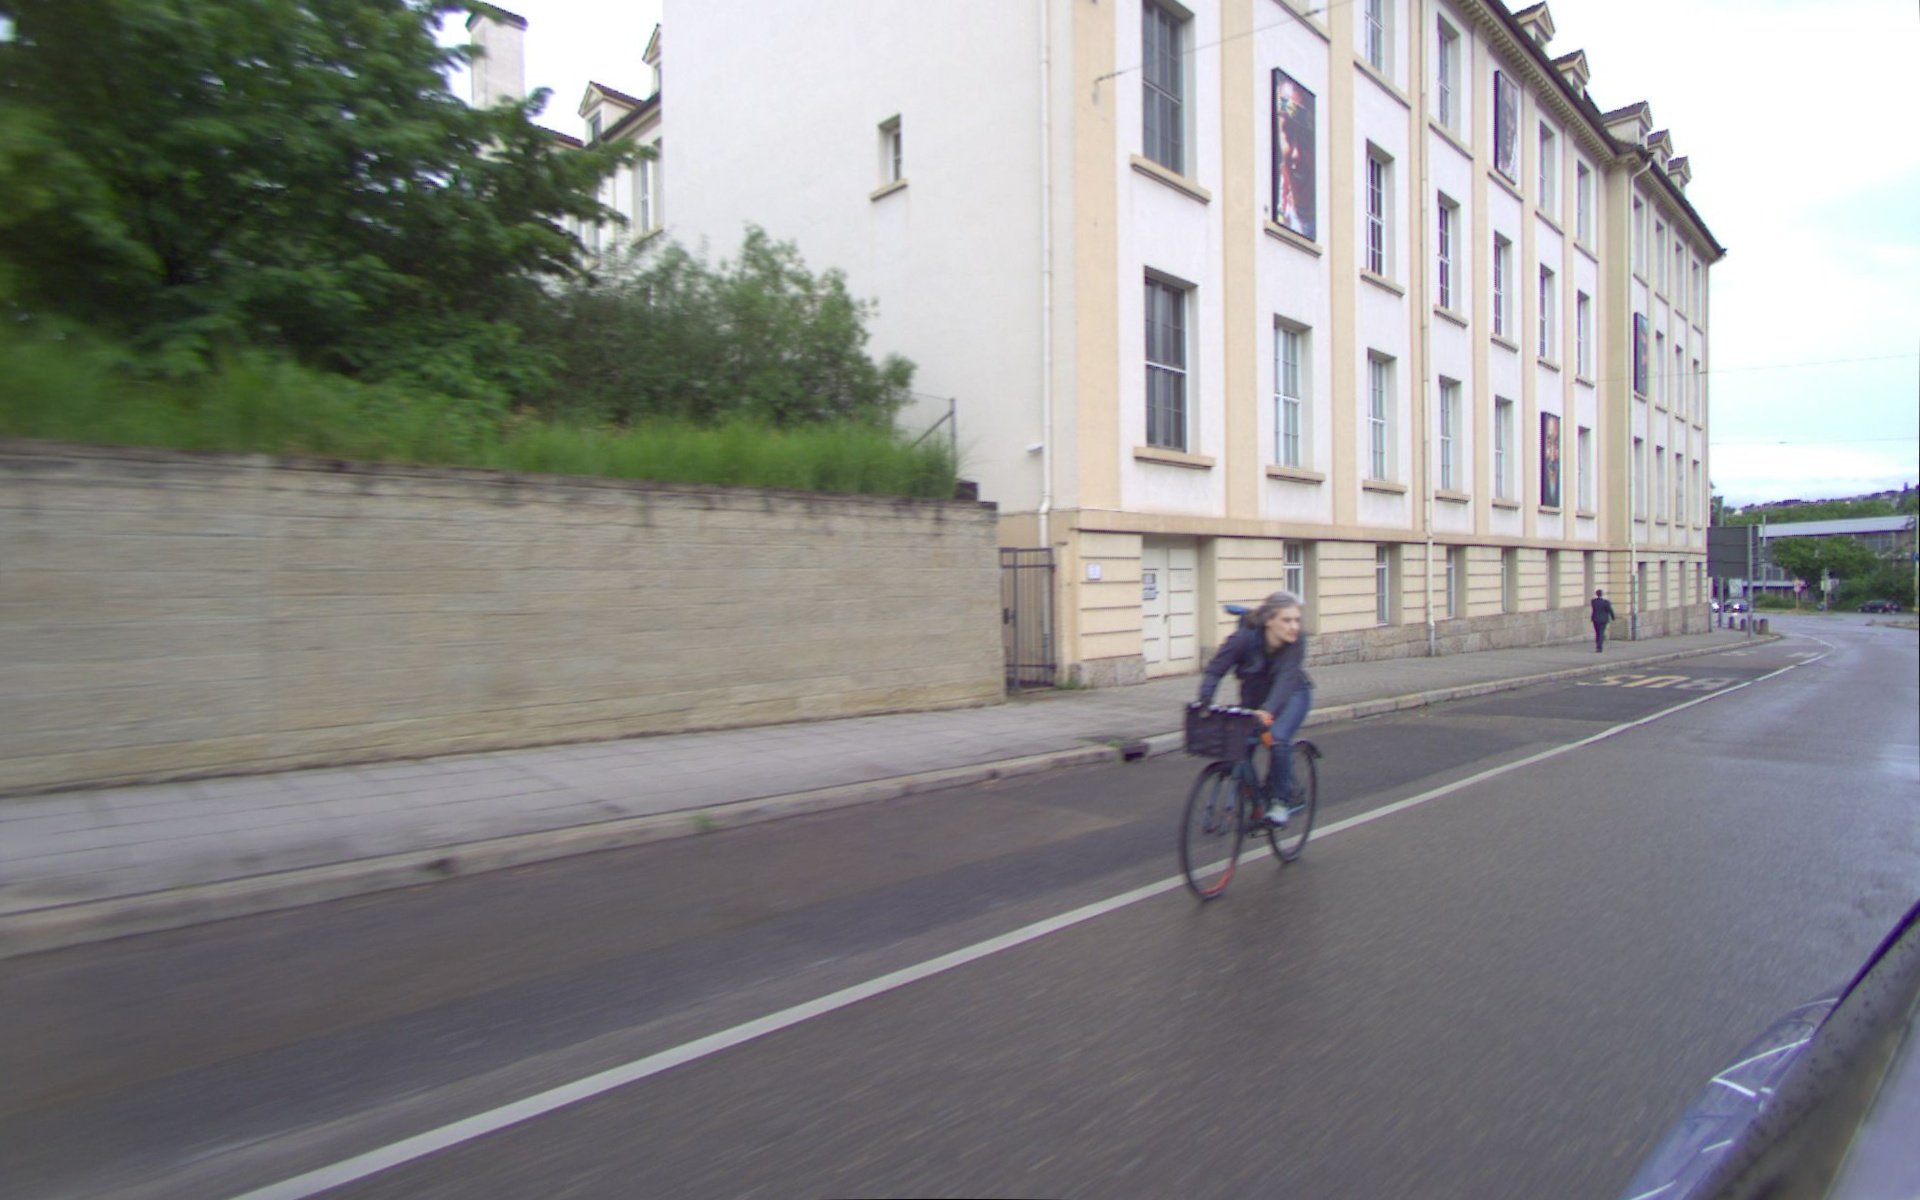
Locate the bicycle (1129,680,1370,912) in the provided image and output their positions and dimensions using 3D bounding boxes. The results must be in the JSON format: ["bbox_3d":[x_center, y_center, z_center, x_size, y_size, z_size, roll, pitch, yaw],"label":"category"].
[{"bbox_3d":[1.603,0.968,5.440,1.661,0.975,0.448,1,-1,-43],"label":"bicycle"}]

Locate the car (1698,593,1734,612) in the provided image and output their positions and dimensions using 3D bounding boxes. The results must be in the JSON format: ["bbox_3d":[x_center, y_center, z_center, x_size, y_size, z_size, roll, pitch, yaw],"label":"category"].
[{"bbox_3d":[80.253,0.249,107.482,2.055,1.935,4.526,1,1,24],"label":"car"}]

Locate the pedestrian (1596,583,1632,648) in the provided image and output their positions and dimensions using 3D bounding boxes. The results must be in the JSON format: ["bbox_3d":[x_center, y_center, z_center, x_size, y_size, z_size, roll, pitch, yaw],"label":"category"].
[{"bbox_3d":[18.755,0.436,29.017,0.837,1.820,0.671,0,1,-43],"label":"pedestrian"}]

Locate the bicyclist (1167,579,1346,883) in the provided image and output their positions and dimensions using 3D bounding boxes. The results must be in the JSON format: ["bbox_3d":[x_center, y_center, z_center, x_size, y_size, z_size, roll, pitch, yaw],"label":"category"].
[{"bbox_3d":[1.575,0.623,5.342,0.914,1.451,0.485,-1,-1,-42],"label":"bicyclist"}]
